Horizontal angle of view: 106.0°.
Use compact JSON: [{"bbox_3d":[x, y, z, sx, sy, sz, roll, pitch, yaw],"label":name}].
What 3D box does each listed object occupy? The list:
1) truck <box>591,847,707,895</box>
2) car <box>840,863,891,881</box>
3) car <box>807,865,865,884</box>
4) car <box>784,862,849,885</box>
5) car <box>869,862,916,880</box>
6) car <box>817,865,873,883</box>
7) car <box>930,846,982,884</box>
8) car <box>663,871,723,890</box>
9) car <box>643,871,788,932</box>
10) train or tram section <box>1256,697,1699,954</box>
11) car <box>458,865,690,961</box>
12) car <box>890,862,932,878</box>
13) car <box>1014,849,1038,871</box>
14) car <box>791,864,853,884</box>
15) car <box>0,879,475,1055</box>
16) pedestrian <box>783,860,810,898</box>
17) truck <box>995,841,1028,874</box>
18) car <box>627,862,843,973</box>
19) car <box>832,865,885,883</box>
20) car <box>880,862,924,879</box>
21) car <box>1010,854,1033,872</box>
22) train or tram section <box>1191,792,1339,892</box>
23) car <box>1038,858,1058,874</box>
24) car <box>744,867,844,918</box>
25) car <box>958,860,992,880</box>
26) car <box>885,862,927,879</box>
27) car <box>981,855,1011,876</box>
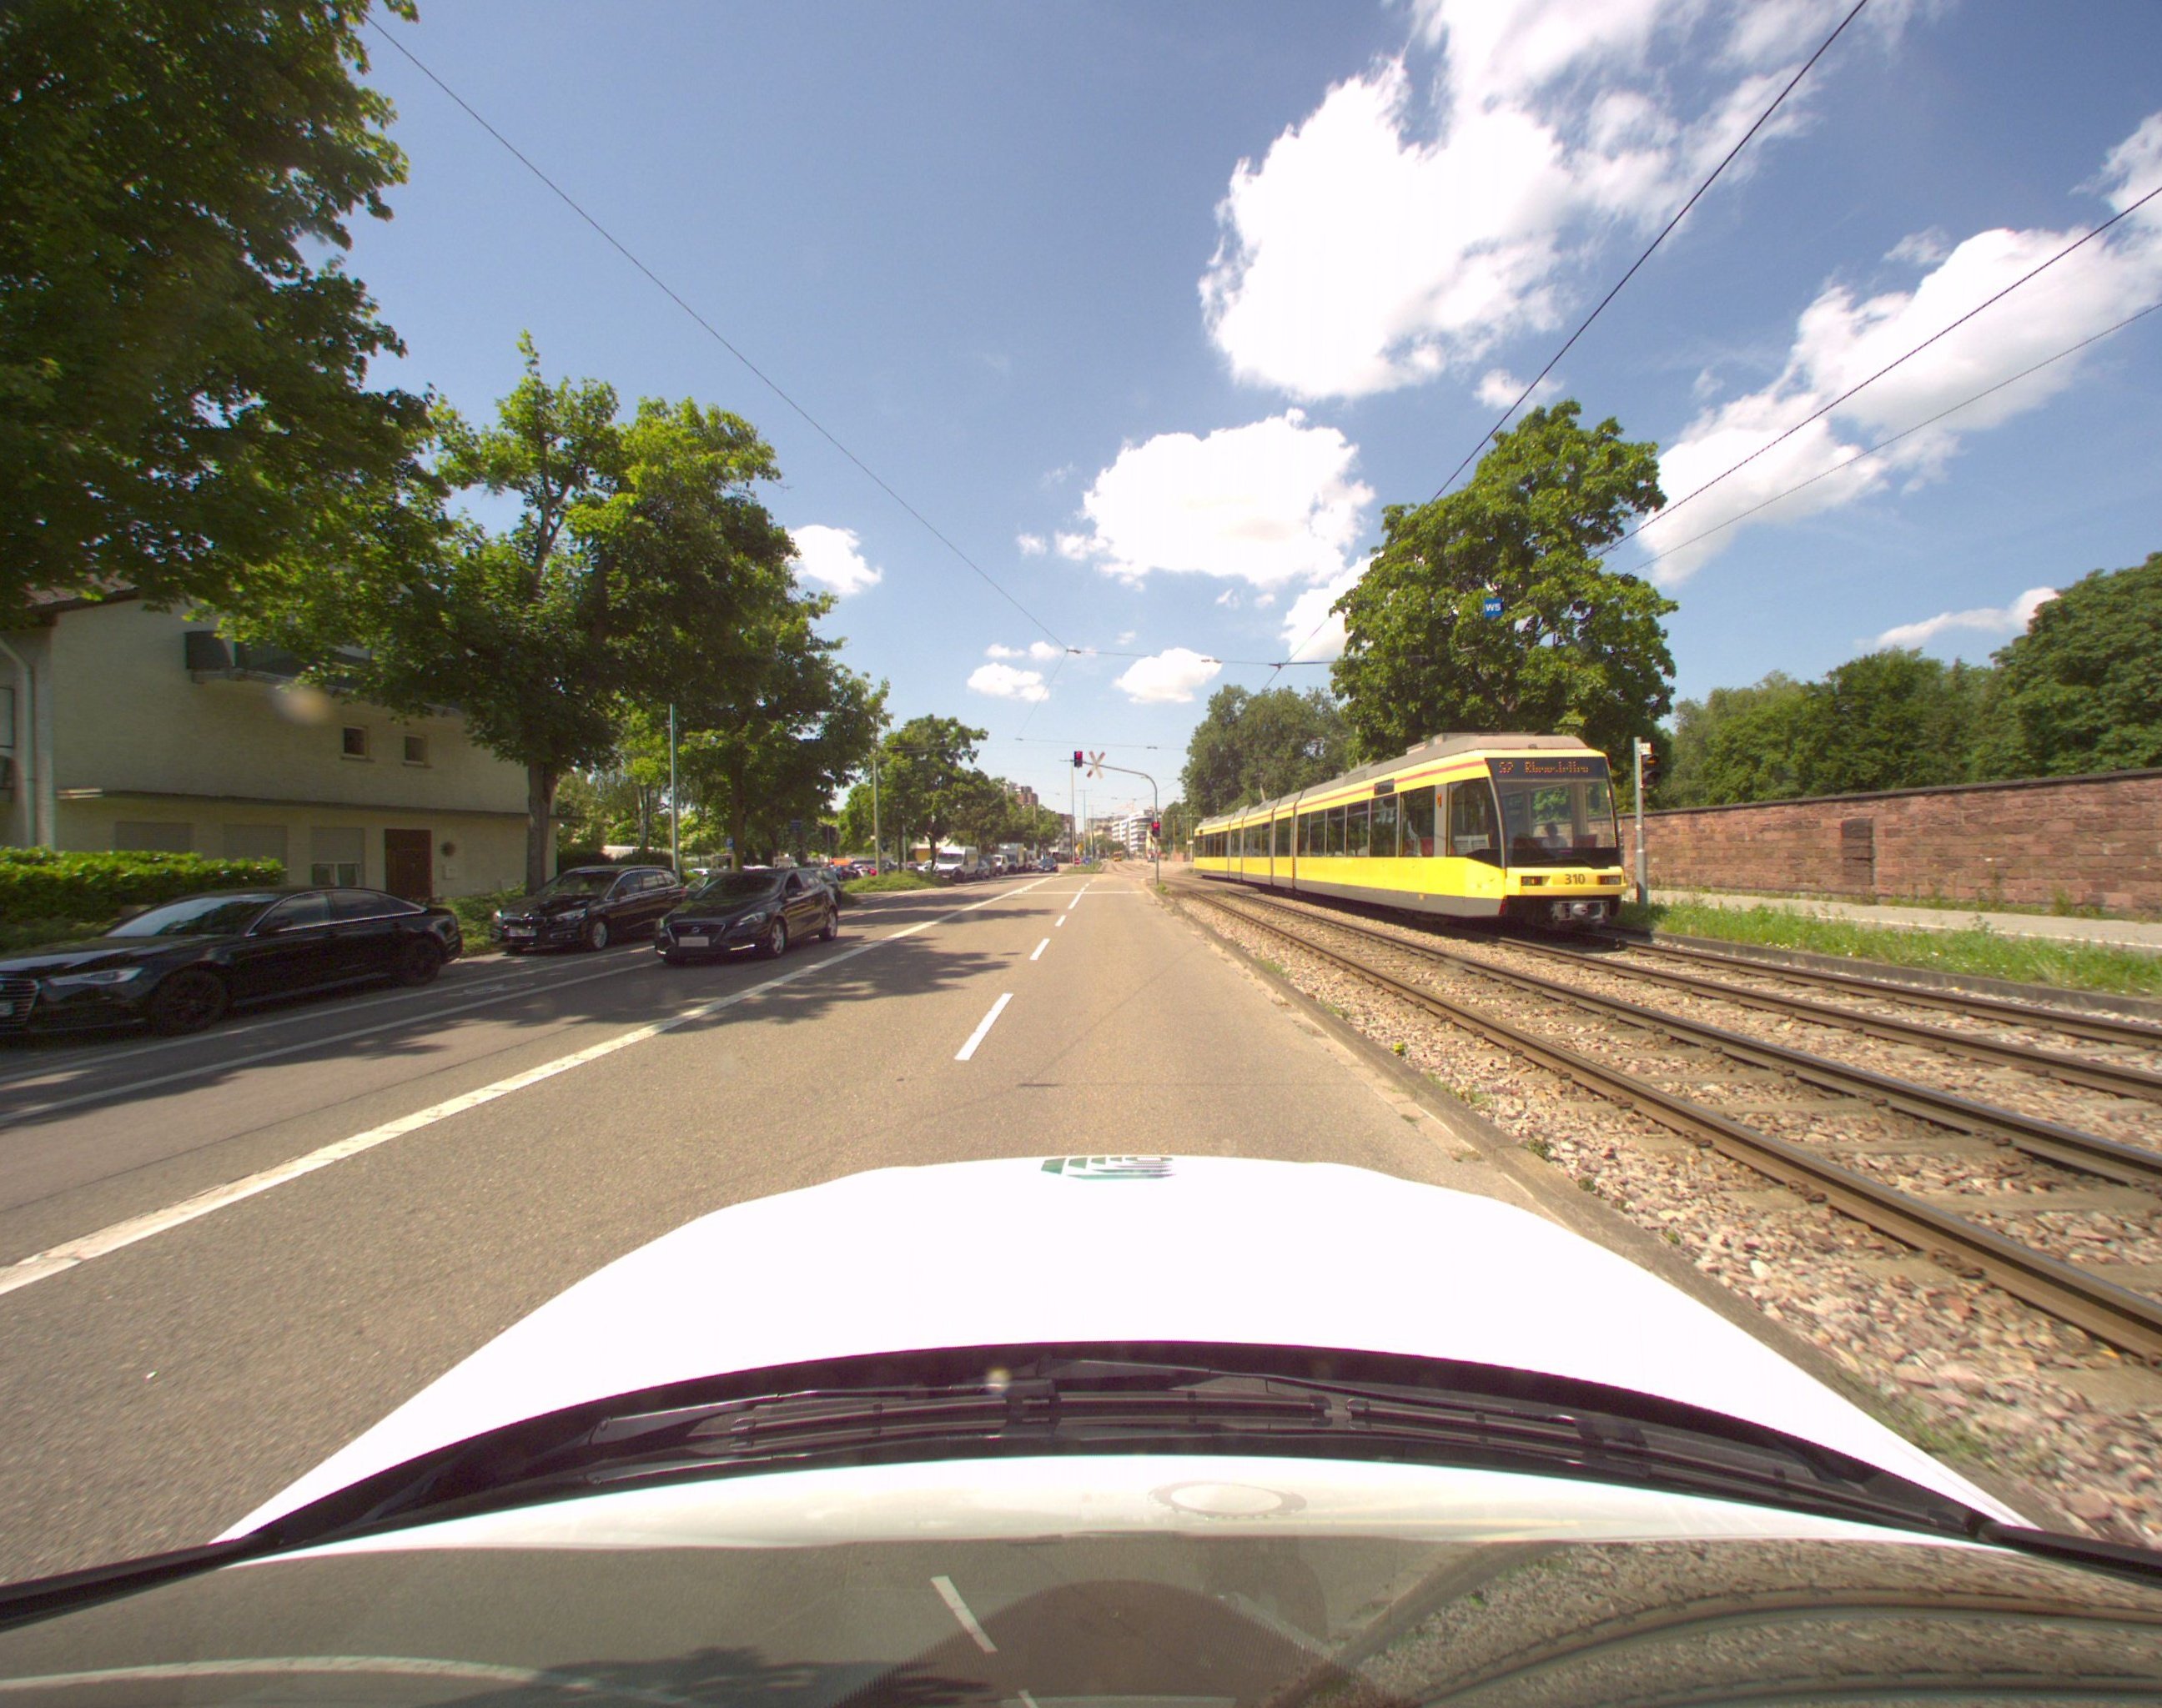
[{"bbox_3d":[-31.488,1.217,59.526,7.164,3.228,2.332,-2,0,-1],"label":"truck"},{"bbox_3d":[-18.814,1.571,71.188,3.973,1.442,1.805,-2,0,1],"label":"car"},{"bbox_3d":[-19.202,1.612,63.999,3.973,1.339,1.805,-2,0,0],"label":"car"},{"bbox_3d":[-18.862,1.367,58.108,3.973,1.442,1.805,-2,0,0],"label":"car"},{"bbox_3d":[-18.222,1.637,78.828,3.973,1.606,1.805,-2,0,0],"label":"car"},{"bbox_3d":[-19.262,1.630,66.640,3.973,1.339,1.805,-2,0,0],"label":"car"},{"bbox_3d":[-8.674,0.702,57.123,2.147,2.487,6.200,-1,0,4],"label":"car"},{"bbox_3d":[-31.931,2.163,67.057,3.973,1.442,1.805,-2,0,0],"label":"car"},{"bbox_3d":[-9.794,1.214,22.282,1.769,1.373,4.697,1,0,0],"label":"car"},{"bbox_3d":[7.695,-0.418,20.936,2.932,3.692,18.396,0,0,2],"label":"train or tram section"},{"bbox_3d":[-9.979,1.059,16.550,1.769,1.604,4.637,0,0,0],"label":"car"},{"bbox_3d":[-18.068,1.690,86.796,3.973,1.606,1.805,-2,0,0],"label":"car"},{"bbox_3d":[-6.733,0.679,100.522,2.147,2.639,5.618,0,0,4],"label":"car"},{"bbox_3d":[-19.200,1.486,60.535,3.973,1.339,1.805,-2,0,0],"label":"car"},{"bbox_3d":[-10.025,1.115,9.839,1.769,1.455,4.804,-1,0,0],"label":"car"},{"bbox_3d":[-13.861,1.204,39.685,0.971,1.823,0.794,-2,0,-1],"label":"pedestrian"},{"bbox_3d":[-7.209,0.336,85.232,2.147,3.210,7.090,2,0,4],"label":"truck"},{"bbox_3d":[-5.564,0.930,13.763,1.769,1.460,4.195,-3,0,0],"label":"car"},{"bbox_3d":[-18.858,1.670,69.193,3.973,1.339,1.805,-2,0,0],"label":"car"},{"bbox_3d":[-18.036,1.670,82.152,3.973,1.606,1.805,-2,0,0],"label":"car"},{"bbox_3d":[-6.724,0.991,92.516,2.052,1.977,4.874,-2,0,3],"label":"car"},{"bbox_3d":[8.163,-0.457,40.200,2.933,3.692,20.284,0,0,1],"label":"train or tram section"},{"bbox_3d":[-3.165,1.165,79.428,1.672,1.398,4.005,-3,0,0],"label":"car"},{"bbox_3d":[-9.466,1.225,27.223,1.768,1.481,4.049,0,0,2],"label":"car"},{"bbox_3d":[-8.168,1.233,63.273,1.861,1.437,4.345,-2,0,3],"label":"car"},{"bbox_3d":[-18.117,1.694,84.440,3.973,1.606,1.805,-2,0,0],"label":"car"},{"bbox_3d":[-7.937,1.062,76.478,2.052,1.898,4.874,-2,0,3],"label":"car"}]
